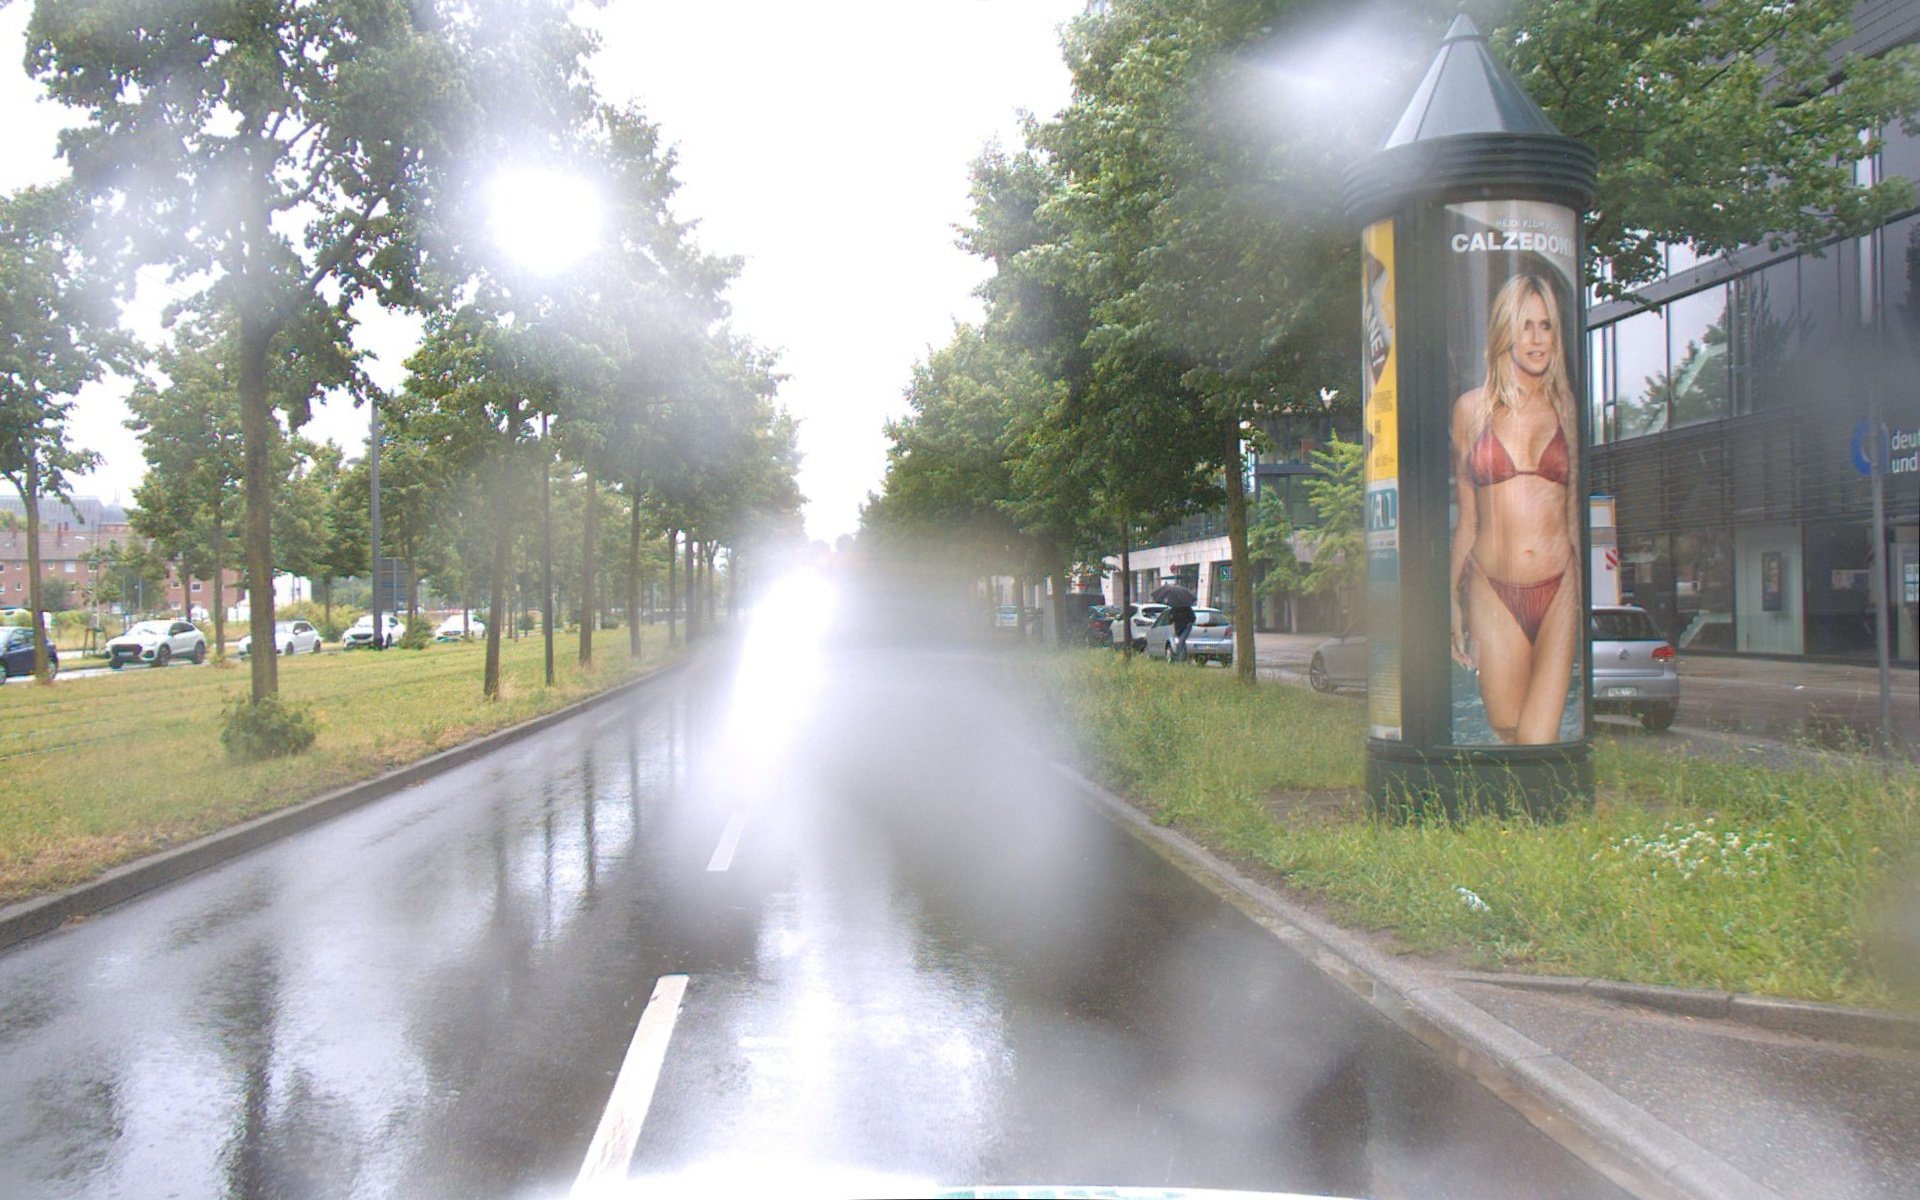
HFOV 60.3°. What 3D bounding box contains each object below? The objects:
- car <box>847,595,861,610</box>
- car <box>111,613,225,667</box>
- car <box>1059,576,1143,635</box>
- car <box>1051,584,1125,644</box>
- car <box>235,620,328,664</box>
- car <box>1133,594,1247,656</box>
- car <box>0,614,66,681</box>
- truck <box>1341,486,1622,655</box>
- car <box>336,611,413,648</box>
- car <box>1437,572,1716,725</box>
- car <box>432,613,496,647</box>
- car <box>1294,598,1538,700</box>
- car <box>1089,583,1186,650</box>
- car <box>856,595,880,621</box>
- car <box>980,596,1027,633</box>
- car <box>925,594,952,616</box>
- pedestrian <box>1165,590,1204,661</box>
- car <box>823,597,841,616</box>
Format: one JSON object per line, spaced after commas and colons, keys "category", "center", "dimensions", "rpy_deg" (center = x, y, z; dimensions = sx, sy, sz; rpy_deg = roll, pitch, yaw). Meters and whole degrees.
{"category": "car", "center": [-15.908, 0.417, 247.223], "dimensions": [1.953, 2.048, 3.999], "rpy_deg": [-1, 2, -2]}
{"category": "car", "center": [-27.809, 1.359, 58.217], "dimensions": [1.911, 1.780, 4.574], "rpy_deg": [-1, 0, -2]}
{"category": "car", "center": [4.567, 0.131, 54.224], "dimensions": [1.954, 1.698, 4.955], "rpy_deg": [-1, 2, -4]}
{"category": "car", "center": [4.683, 0.472, 61.183], "dimensions": [1.954, 1.986, 5.026], "rpy_deg": [-1, 2, -4]}
{"category": "car", "center": [-25.389, 1.536, 62.017], "dimensions": [1.912, 1.540, 4.571], "rpy_deg": [-1, 0, -5]}
{"category": "car", "center": [5.806, 0.595, 42.245], "dimensions": [1.736, 1.477, 4.716], "rpy_deg": [0, 0, -7]}
{"category": "car", "center": [-24.902, 1.220, 42.454], "dimensions": [1.912, 1.520, 3.959], "rpy_deg": [-1, 2, -4]}
{"category": "truck", "center": [11.878, -0.611, 38.747], "dimensions": [2.967, 3.501, 8.534], "rpy_deg": [-1, 0, -7]}
{"category": "car", "center": [-24.692, 1.205, 69.900], "dimensions": [1.912, 1.478, 4.571], "rpy_deg": [-1, 0, -5]}
{"category": "car", "center": [7.578, 0.508, 20.764], "dimensions": [1.726, 1.624, 4.097], "rpy_deg": [-1, 2, -4]}
{"category": "car", "center": [-25.912, 1.560, 86.605], "dimensions": [1.911, 1.486, 4.831], "rpy_deg": [-1, 2, -1]}
{"category": "car", "center": [7.241, 0.720, 26.917], "dimensions": [1.956, 1.469, 5.228], "rpy_deg": [-1, 0, -7]}
{"category": "car", "center": [5.084, 0.437, 47.990], "dimensions": [1.954, 1.698, 4.720], "rpy_deg": [-1, 2, -4]}
{"category": "car", "center": [-7.824, 0.679, 140.119], "dimensions": [1.902, 2.048, 3.997], "rpy_deg": [-1, 2, -4]}
{"category": "car", "center": [2.201, 0.713, 85.443], "dimensions": [1.954, 1.698, 4.720], "rpy_deg": [-1, 2, -4]}
{"category": "car", "center": [-1.762, 0.417, 131.425], "dimensions": [1.844, 1.532, 4.720], "rpy_deg": [-1, 2, -4]}
{"category": "pedestrian", "center": [4.820, 0.542, 35.562], "dimensions": [0.684, 1.519, 0.643], "rpy_deg": [-1, 0, -7]}
{"category": "car", "center": [-15.283, 0.788, 198.271], "dimensions": [1.953, 2.048, 3.999], "rpy_deg": [-1, 2, -2]}
